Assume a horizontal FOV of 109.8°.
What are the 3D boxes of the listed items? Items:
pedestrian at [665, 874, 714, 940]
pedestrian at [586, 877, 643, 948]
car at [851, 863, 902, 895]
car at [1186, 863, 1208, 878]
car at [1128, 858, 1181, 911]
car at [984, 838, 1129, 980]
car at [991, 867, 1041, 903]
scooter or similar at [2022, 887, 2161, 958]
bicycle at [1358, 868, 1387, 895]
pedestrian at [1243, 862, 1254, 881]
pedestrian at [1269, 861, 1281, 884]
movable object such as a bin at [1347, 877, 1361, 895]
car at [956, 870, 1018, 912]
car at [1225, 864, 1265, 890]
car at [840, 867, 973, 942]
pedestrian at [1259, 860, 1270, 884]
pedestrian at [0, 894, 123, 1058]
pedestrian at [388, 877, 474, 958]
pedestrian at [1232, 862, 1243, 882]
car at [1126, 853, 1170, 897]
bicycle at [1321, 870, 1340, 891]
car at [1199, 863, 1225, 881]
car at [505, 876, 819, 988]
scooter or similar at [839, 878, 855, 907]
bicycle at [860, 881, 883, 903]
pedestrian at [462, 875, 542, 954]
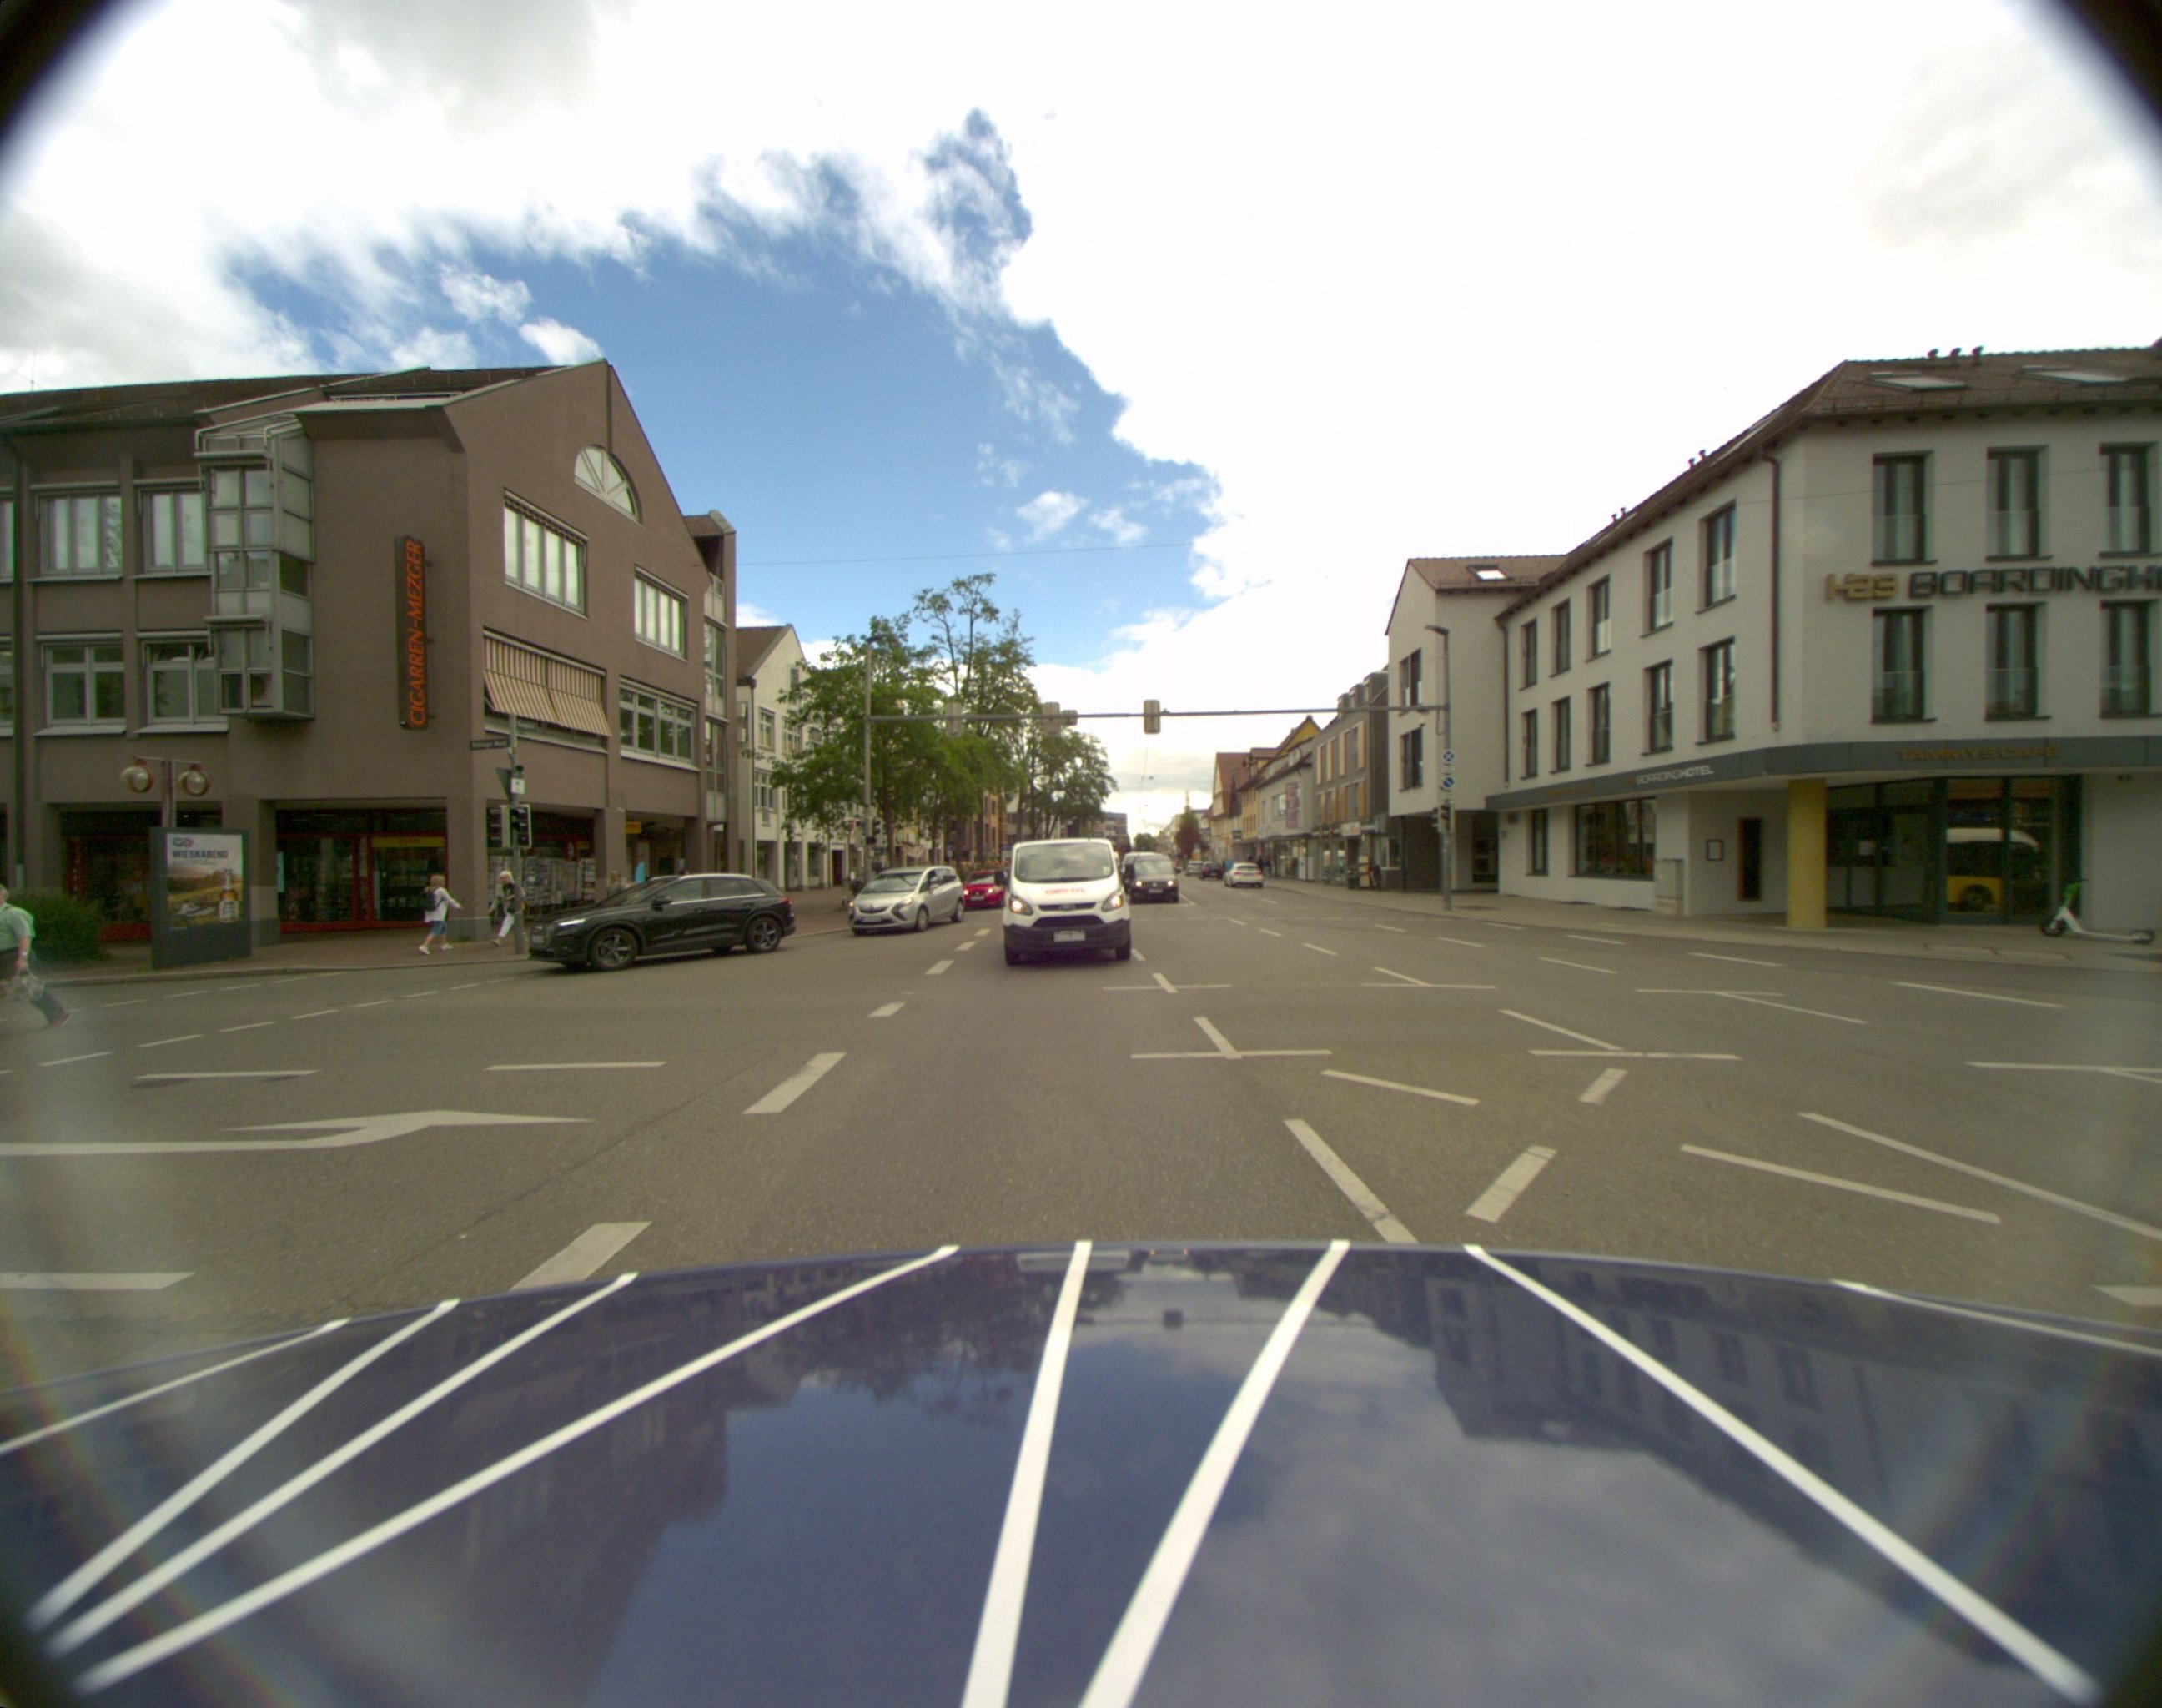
[{"bbox_3d":[-9.966,1.325,19.356,0.743,1.616,0.954,0,0,1],"label":"pedestrian"},{"bbox_3d":[-11.017,1.366,17.961,0.743,1.616,0.954,0,0,1],"label":"pedestrian"},{"bbox_3d":[-12.121,1.449,45.202,1.738,1.793,4.262,0,-1,2],"label":"car"},{"bbox_3d":[11.783,1.693,77.070,1.873,1.477,4.002,-1,-1,4],"label":"car"},{"bbox_3d":[2.731,1.113,29.183,1.712,1.810,4.573,-3,-1,2],"label":"car"},{"bbox_3d":[-0.174,0.825,13.834,1.939,1.967,5.782,-3,-1,4],"label":"car"},{"bbox_3d":[-3.033,1.429,36.168,1.801,1.521,4.001,-3,-1,3],"label":"car"},{"bbox_3d":[18.834,1.239,14.165,0.427,1.152,1.569,-1,2,-37],"label":"scooter or similar"},{"bbox_3d":[13.482,1.259,35.207,0.583,1.225,2.120,-1,-1,3],"label":"bicycle"},{"bbox_3d":[14.202,1.501,64.533,0.811,1.574,0.921,-1,0,5],"label":"pedestrian"},{"bbox_3d":[14.894,1.405,58.313,0.708,1.771,0.870,-1,0,6],"label":"pedestrian"},{"bbox_3d":[13.583,1.598,37.814,0.552,0.894,0.507,-1,0,3],"label":"movable object such as a bin"},{"bbox_3d":[-3.597,1.408,29.701,1.630,1.439,3.643,-3,-1,4],"label":"car"},{"bbox_3d":[9.647,1.324,44.841,1.748,1.450,4.237,0,-1,4],"label":"car"},{"bbox_3d":[-4.484,1.245,20.258,1.742,1.690,4.385,-3,-1,11],"label":"car"},{"bbox_3d":[14.093,1.363,58.431,0.708,1.828,1.028,-1,0,6],"label":"pedestrian"},{"bbox_3d":[-12.005,1.330,8.541,1.058,1.705,1.110,-1,0,3],"label":"pedestrian"},{"bbox_3d":[-13.436,1.289,15.742,0.823,1.585,1.040,-1,0,11],"label":"pedestrian"},{"bbox_3d":[13.312,1.500,64.685,0.811,1.651,0.921,-1,0,5],"label":"pedestrian"},{"bbox_3d":[3.358,1.011,38.250,1.998,2.001,4.842,-2,-1,4],"label":"car"},{"bbox_3d":[13.752,1.446,41.904,0.573,1.094,1.903,-1,-1,5],"label":"bicycle"},{"bbox_3d":[10.675,1.433,62.166,1.748,1.450,3.819,0,-1,4],"label":"car"},{"bbox_3d":[-7.671,1.325,14.460,1.852,1.599,4.871,-3,-1,35],"label":"car"},{"bbox_3d":[-9.489,1.563,30.829,0.471,1.081,1.886,0,0,-13],"label":"scooter or similar"},{"bbox_3d":[-10.606,1.903,38.466,0.407,1.042,1.565,0,0,-44],"label":"bicycle"},{"bbox_3d":[-12.413,1.276,16.323,0.809,1.616,1.095,0,0,13],"label":"pedestrian"}]
